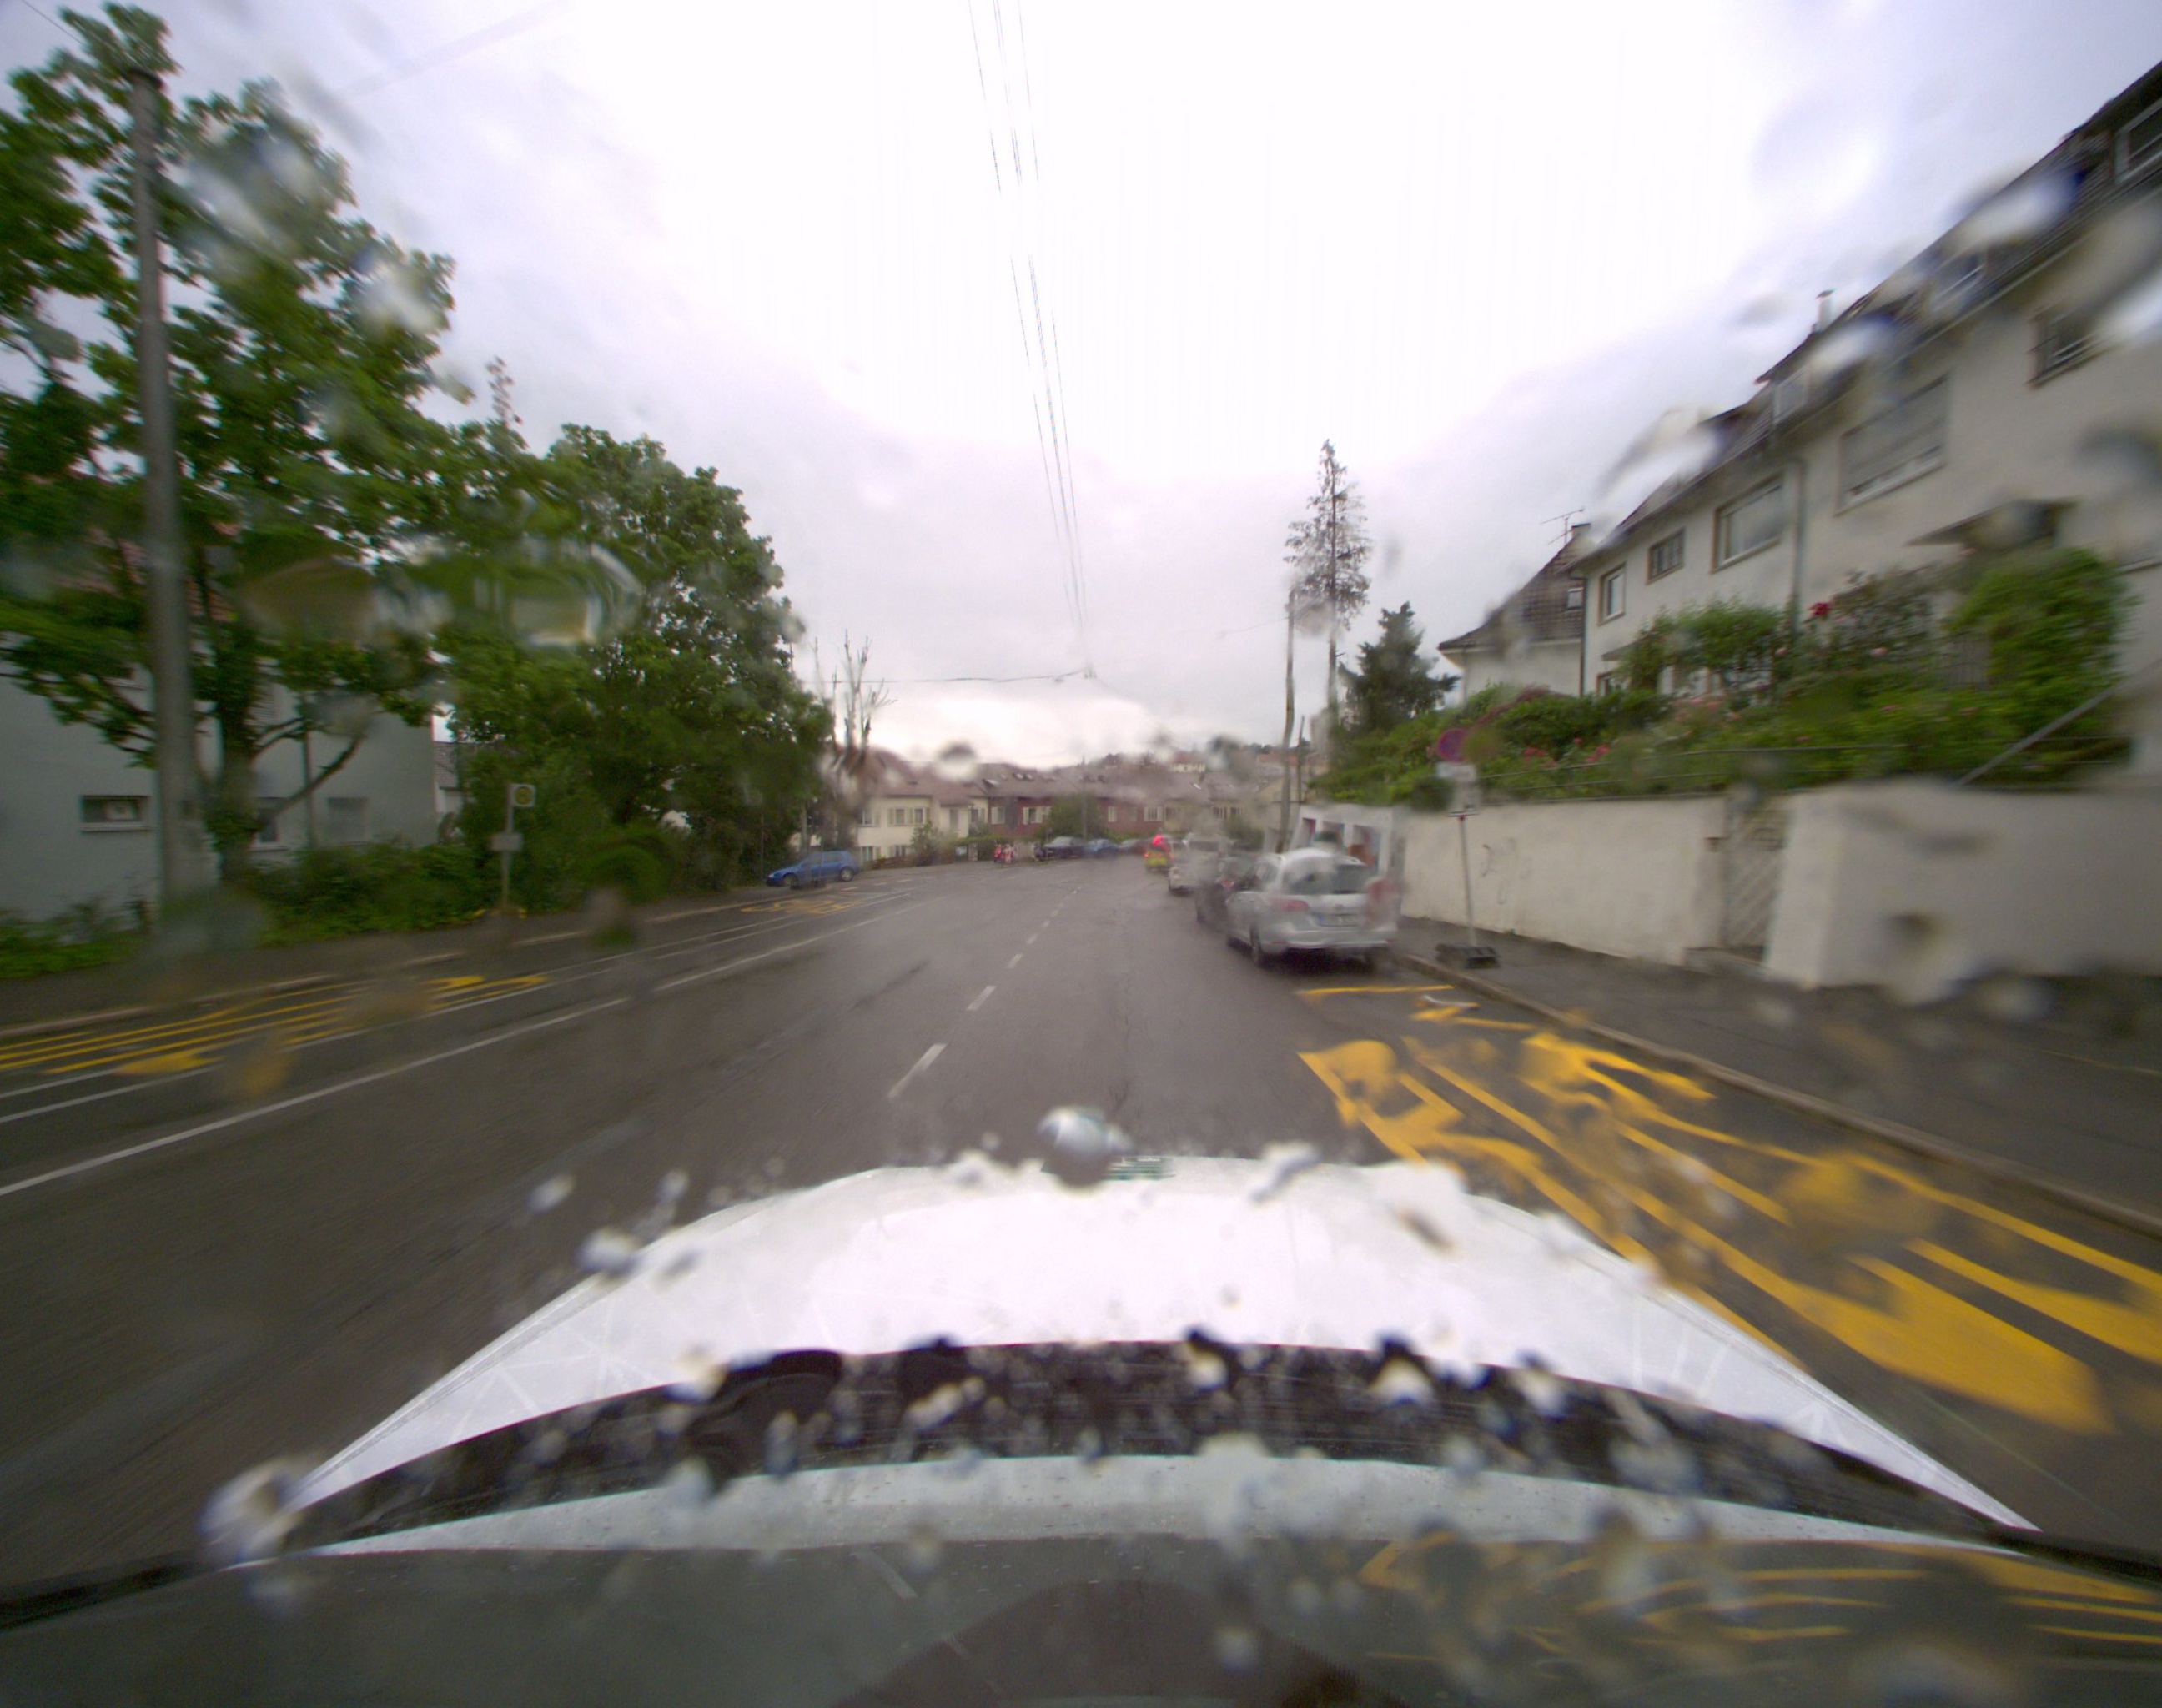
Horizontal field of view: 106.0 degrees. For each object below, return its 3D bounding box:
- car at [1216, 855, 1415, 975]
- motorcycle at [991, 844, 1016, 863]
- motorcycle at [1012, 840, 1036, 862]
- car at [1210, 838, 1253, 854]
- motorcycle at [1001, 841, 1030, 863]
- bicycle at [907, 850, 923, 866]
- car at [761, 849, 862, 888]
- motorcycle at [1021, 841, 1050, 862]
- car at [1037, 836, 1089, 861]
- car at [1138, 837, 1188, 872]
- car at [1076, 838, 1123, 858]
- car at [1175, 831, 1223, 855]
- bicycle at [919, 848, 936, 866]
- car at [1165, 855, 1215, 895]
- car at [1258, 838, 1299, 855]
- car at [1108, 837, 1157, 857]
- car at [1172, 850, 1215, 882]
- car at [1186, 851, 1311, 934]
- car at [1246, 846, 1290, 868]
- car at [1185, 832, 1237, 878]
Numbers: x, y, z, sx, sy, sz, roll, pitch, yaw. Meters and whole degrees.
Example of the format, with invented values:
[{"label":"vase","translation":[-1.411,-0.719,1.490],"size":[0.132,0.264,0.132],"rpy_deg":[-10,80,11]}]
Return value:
[{"label":"car","translation":[3.180,0.742,12.003],"size":[1.774,1.420,4.432],"rpy_deg":[-1,0,2]},{"label":"motorcycle","translation":[-4.848,-0.062,51.121],"size":[0.504,1.140,1.934],"rpy_deg":[0,2,30]},{"label":"motorcycle","translation":[-3.748,-0.198,53.646],"size":[0.616,1.303,1.787],"rpy_deg":[1,4,-38]},{"label":"car","translation":[15.106,-0.806,81.659],"size":[4.548,1.476,1.792],"rpy_deg":[0,4,-44]},{"label":"motorcycle","translation":[-4.257,-0.144,52.721],"size":[1.786,1.279,0.514],"rpy_deg":[3,3,23]},{"label":"bicycle","translation":[-10.874,0.260,53.191],"size":[1.311,1.035,0.307],"rpy_deg":[-3,-4,42]},{"label":"car","translation":[-12.125,0.657,36.724],"size":[3.958,1.666,1.822],"rpy_deg":[1,-1,-34]},{"label":"motorcycle","translation":[-3.059,-0.185,55.032],"size":[1.899,1.271,0.574],"rpy_deg":[2,3,-8]},{"label":"car","translation":[-1.275,-0.453,58.766],"size":[1.904,1.576,4.413],"rpy_deg":[4,3,25]},{"label":"car","translation":[5.195,-0.011,51.201],"size":[2.291,1.939,4.344],"rpy_deg":[3,3,16]},{"label":"car","translation":[1.476,-0.507,63.446],"size":[1.683,1.404,4.501],"rpy_deg":[5,4,29]},{"label":"car","translation":[11.237,-1.013,77.326],"size":[1.831,2.078,5.051],"rpy_deg":[5,3,42]},{"label":"bicycle","translation":[-9.865,0.200,52.228],"size":[1.287,1.035,0.307],"rpy_deg":[-3,-4,40]},{"label":"car","translation":[4.087,0.735,30.961],"size":[1.697,1.414,4.047],"rpy_deg":[0,0,5]},{"label":"car","translation":[21.230,-0.793,87.418],"size":[4.703,1.630,1.912],"rpy_deg":[0,3,-43]},{"label":"car","translation":[4.340,-0.599,68.112],"size":[1.791,1.476,4.551],"rpy_deg":[5,3,39]},{"label":"car","translation":[5.962,0.592,42.892],"size":[1.741,1.495,4.201],"rpy_deg":[1,1,15]},{"label":"car","translation":[3.358,0.712,17.022],"size":[1.709,1.513,3.998],"rpy_deg":[0,0,-1]},{"label":"car","translation":[14.246,0.206,61.813],"size":[1.662,1.483,4.228],"rpy_deg":[4,3,36]},{"label":"car","translation":[7.781,0.011,48.169],"size":[2.082,2.542,5.647],"rpy_deg":[1,0,19]}]
